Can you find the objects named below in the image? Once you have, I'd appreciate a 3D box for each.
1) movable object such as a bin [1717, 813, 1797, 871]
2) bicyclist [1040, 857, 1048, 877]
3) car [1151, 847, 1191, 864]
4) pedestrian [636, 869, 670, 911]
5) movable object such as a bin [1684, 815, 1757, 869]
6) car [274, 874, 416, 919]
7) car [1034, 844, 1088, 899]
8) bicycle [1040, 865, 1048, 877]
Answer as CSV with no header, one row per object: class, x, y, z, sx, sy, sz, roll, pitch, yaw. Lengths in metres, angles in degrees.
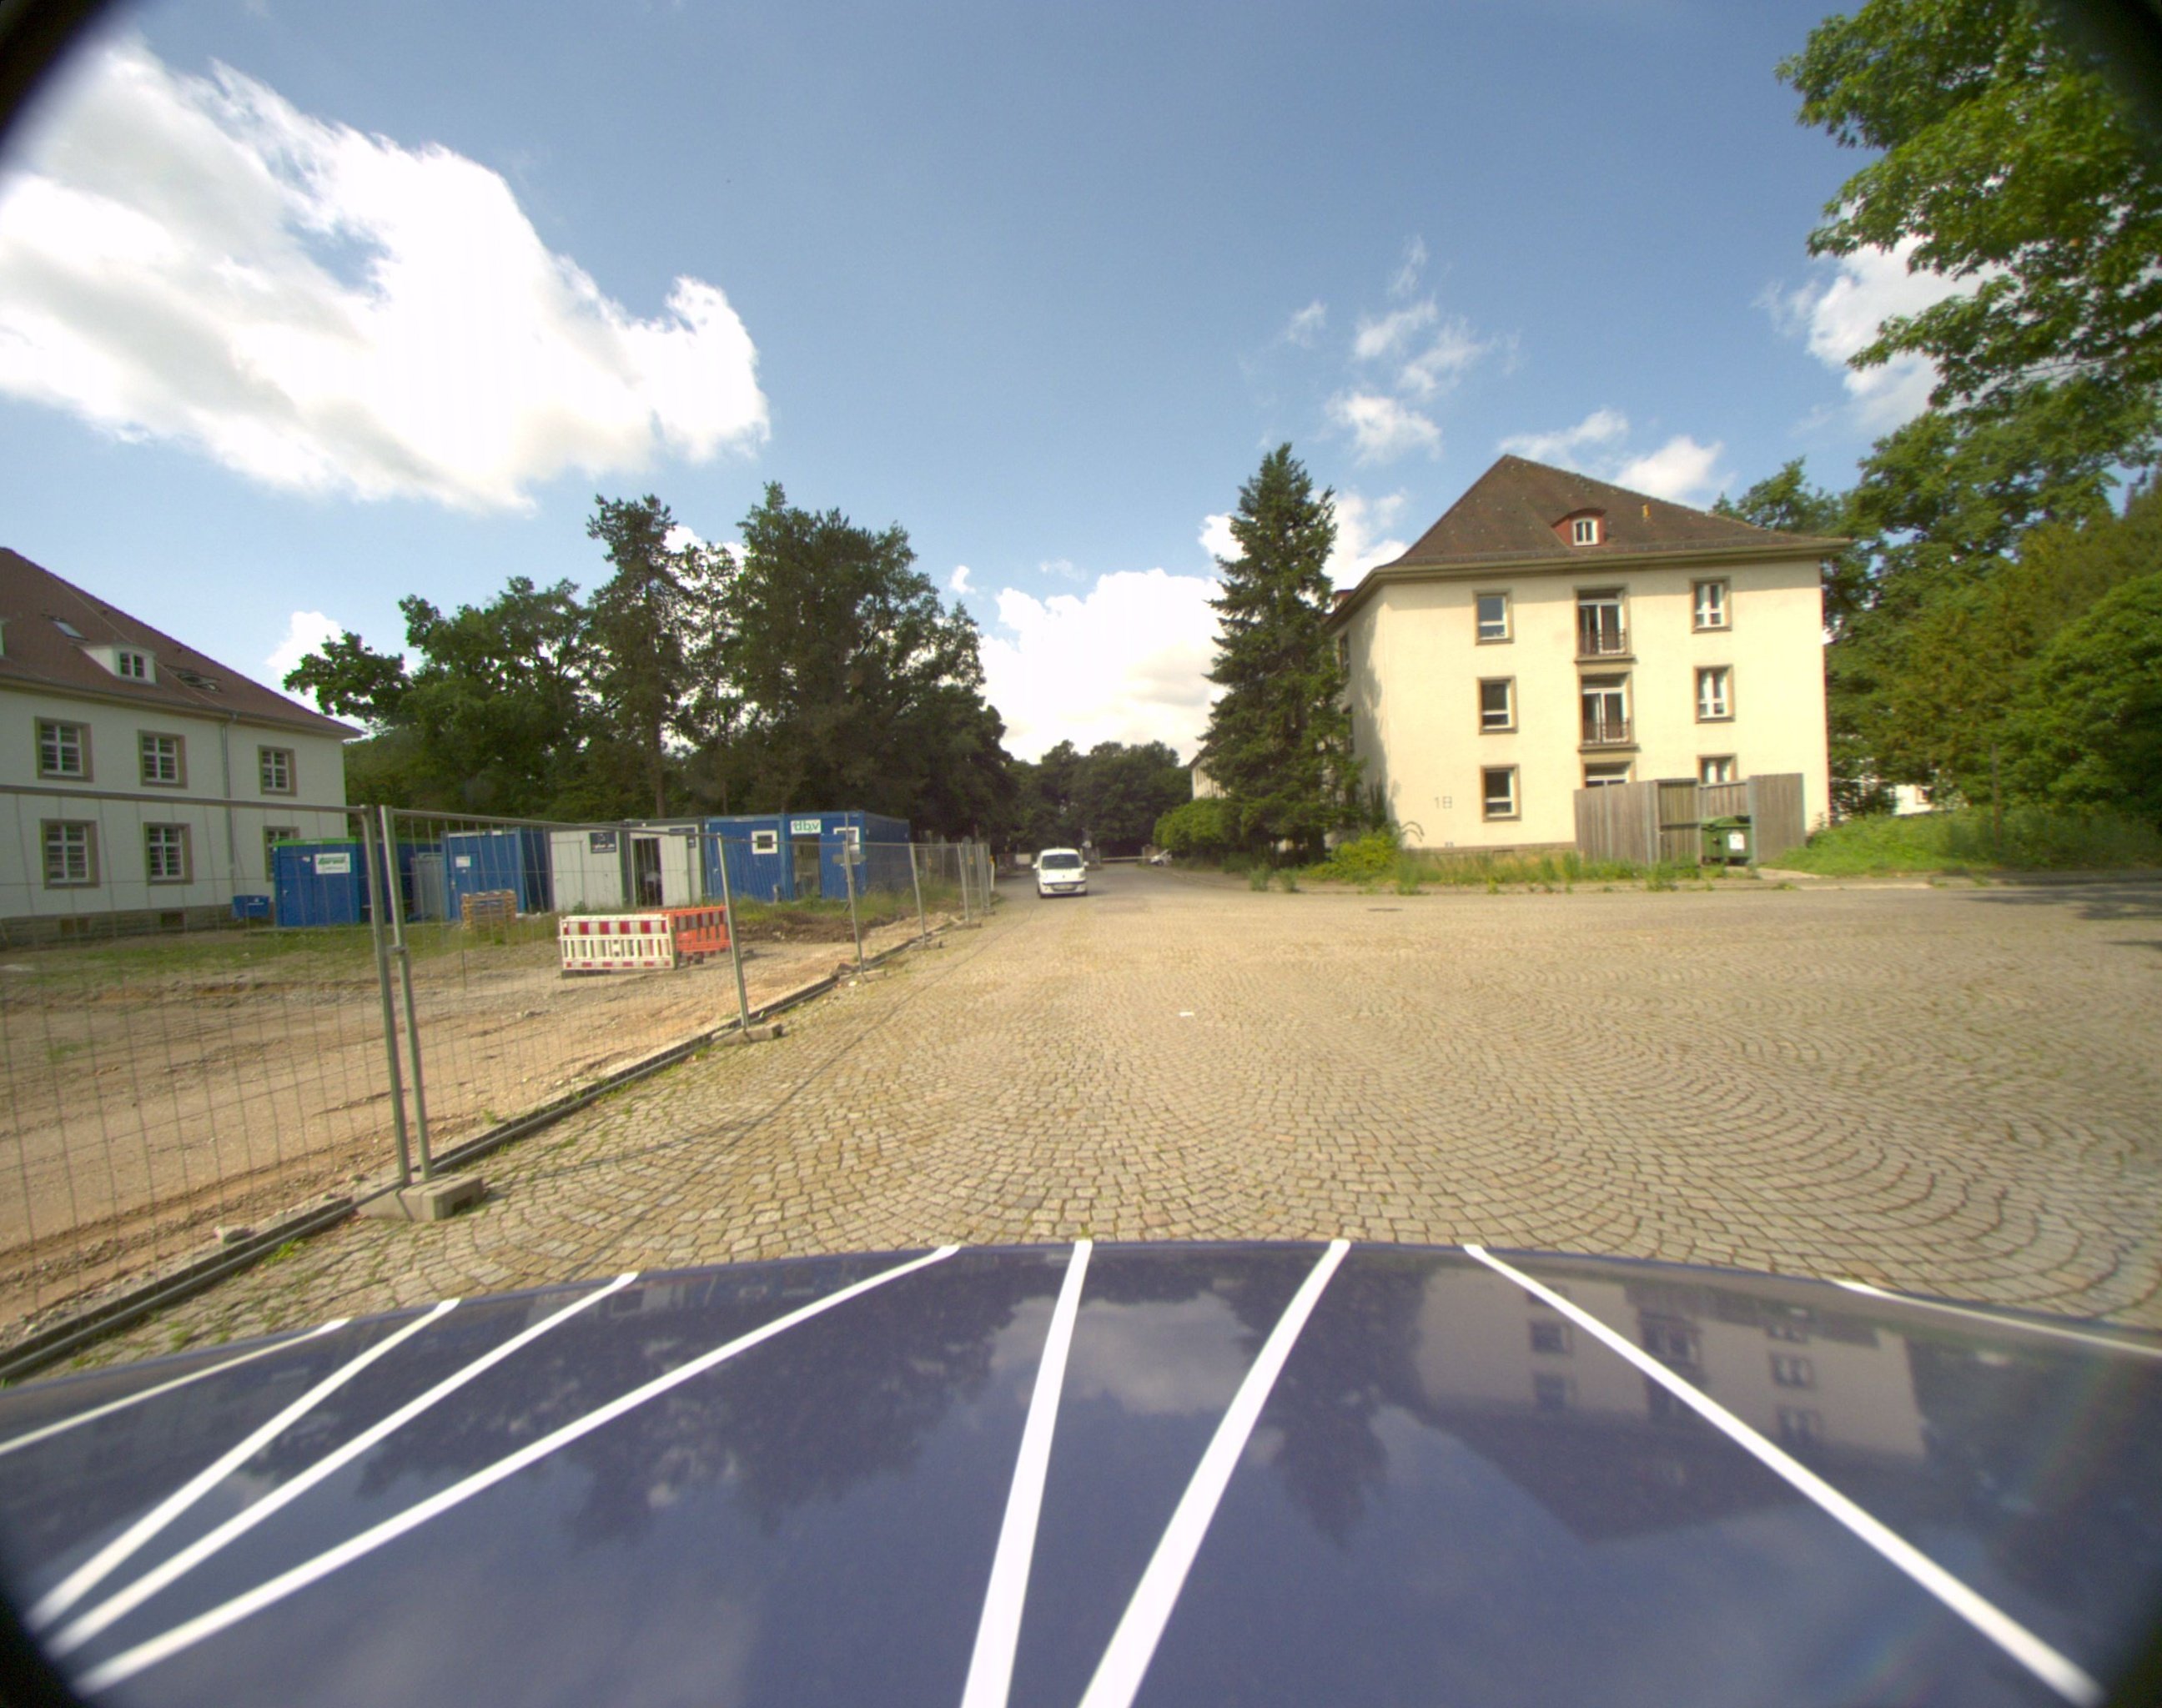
movable object such as a bin,18.913,-0.335,21.295,1.172,1.522,1.153,-2,1,-1
bicyclist,-3.402,1.193,69.989,0.634,1.760,0.571,-3,1,0
car,9.752,0.121,82.349,4.083,1.634,1.767,-2,1,1
pedestrian,-13.469,1.121,23.905,0.602,1.236,0.682,-3,1,0
movable object such as a bin,18.895,-0.359,22.487,1.172,1.522,1.153,-2,1,-1
car,-34.341,1.938,35.683,1.884,1.718,4.708,-2,1,3
car,-0.749,0.660,29.684,1.839,1.857,4.830,-3,-1,-1
bicycle,-3.381,1.577,70.081,0.634,0.990,1.557,-3,0,0
